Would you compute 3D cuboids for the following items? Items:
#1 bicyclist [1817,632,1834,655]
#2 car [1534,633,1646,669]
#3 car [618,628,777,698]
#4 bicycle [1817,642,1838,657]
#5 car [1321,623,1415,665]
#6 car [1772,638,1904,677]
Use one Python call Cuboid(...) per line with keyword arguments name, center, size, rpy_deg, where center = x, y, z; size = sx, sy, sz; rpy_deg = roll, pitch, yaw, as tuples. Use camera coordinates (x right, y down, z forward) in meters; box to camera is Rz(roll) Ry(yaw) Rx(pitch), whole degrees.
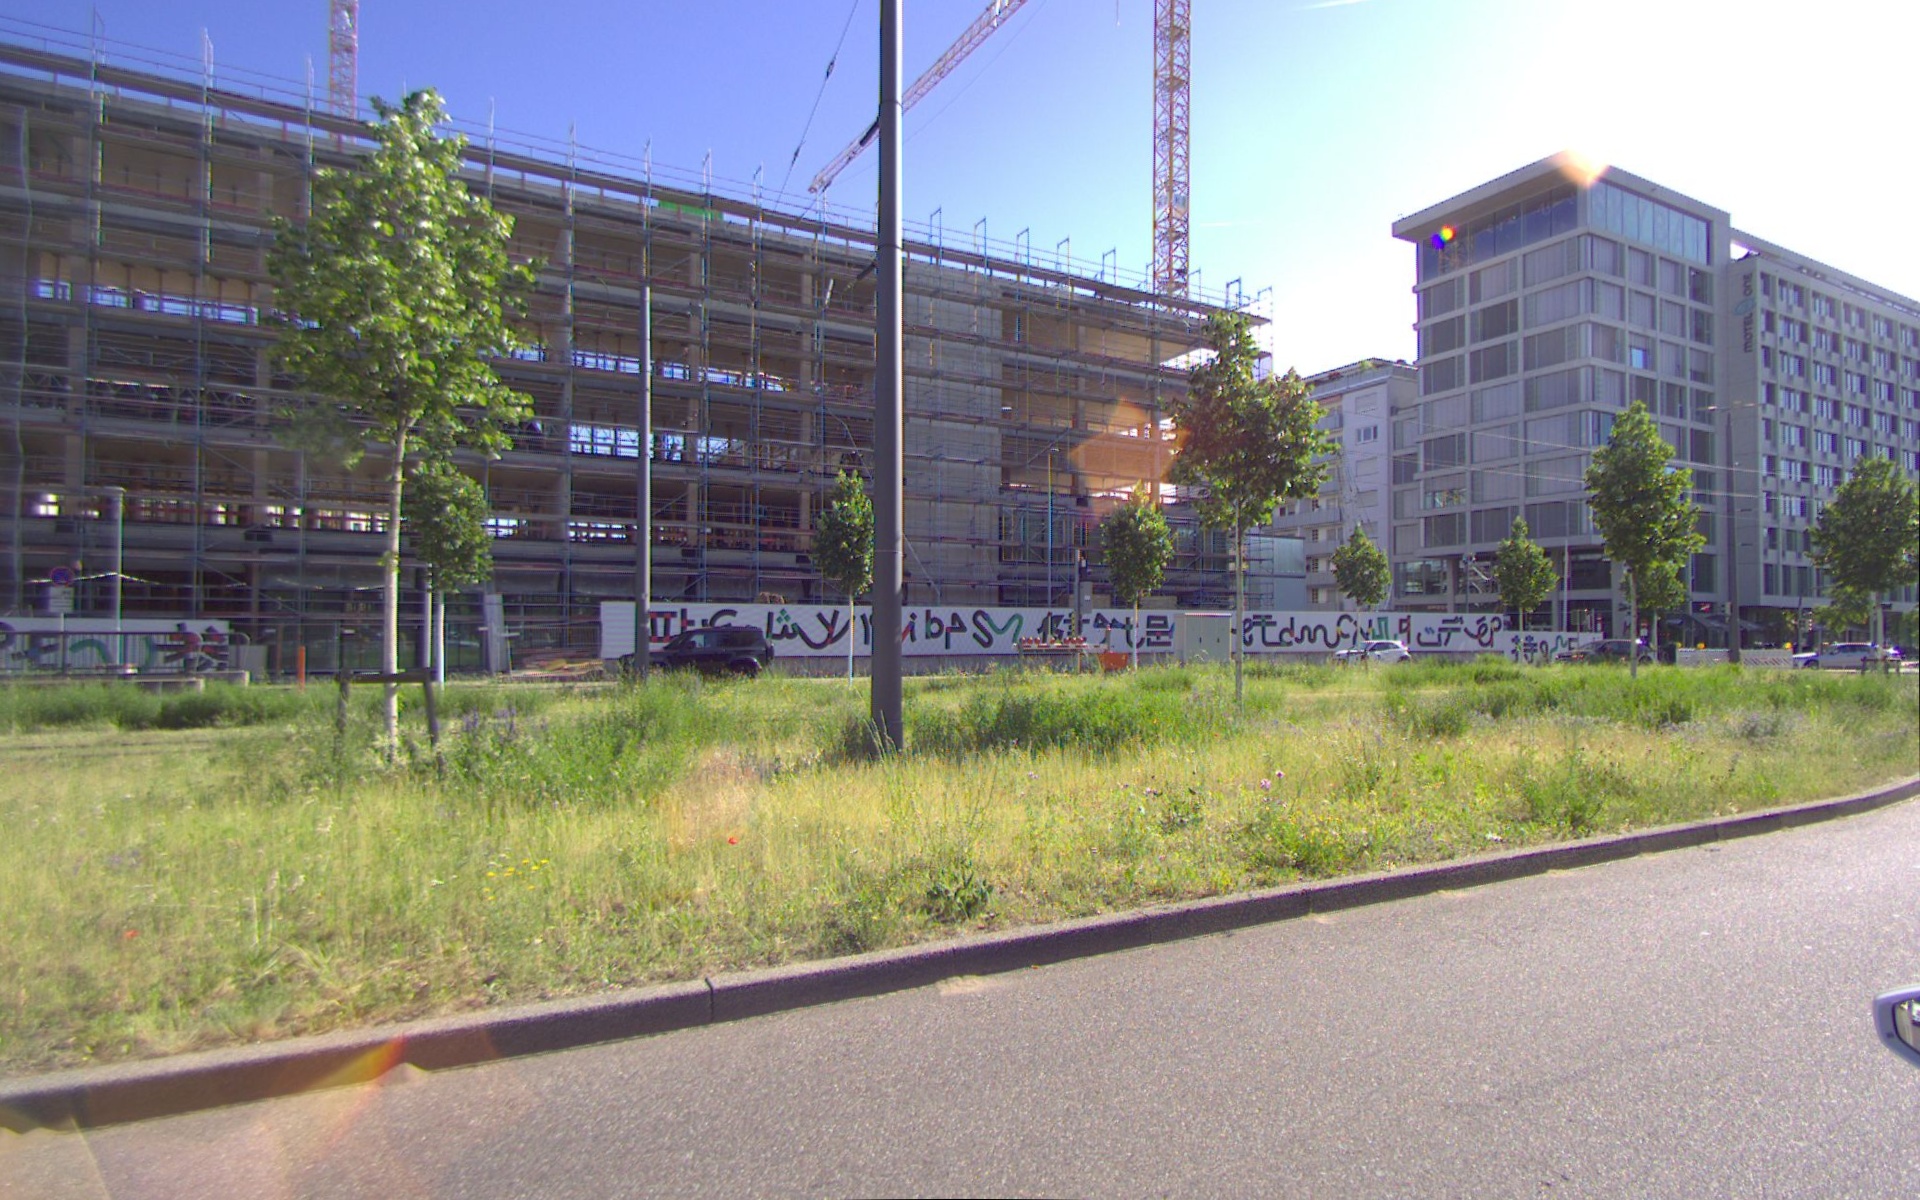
Cuboid(name="bicyclist", center=(64.041, 3.213, 74.298), size=(0.880, 1.601, 0.592), rpy_deg=(2, 0, -25))
Cuboid(name="car", center=(32.089, 2.583, 51.250), size=(4.436, 1.816, 2.001), rpy_deg=(0, -2, 3))
Cuboid(name="car", center=(-7.732, 1.818, 29.628), size=(4.272, 1.943, 1.903), rpy_deg=(1, -2, -26))
Cuboid(name="bicycle", center=(64.054, 3.652, 74.179), size=(1.600, 1.115, 0.585), rpy_deg=(2, 0, -25))
Cuboid(name="car", center=(19.478, 2.073, 47.947), size=(3.925, 1.943, 1.907), rpy_deg=(1, -2, -20))
Cuboid(name="car", center=(43.149, 2.821, 49.480), size=(4.438, 1.816, 2.000), rpy_deg=(0, -2, 20))
